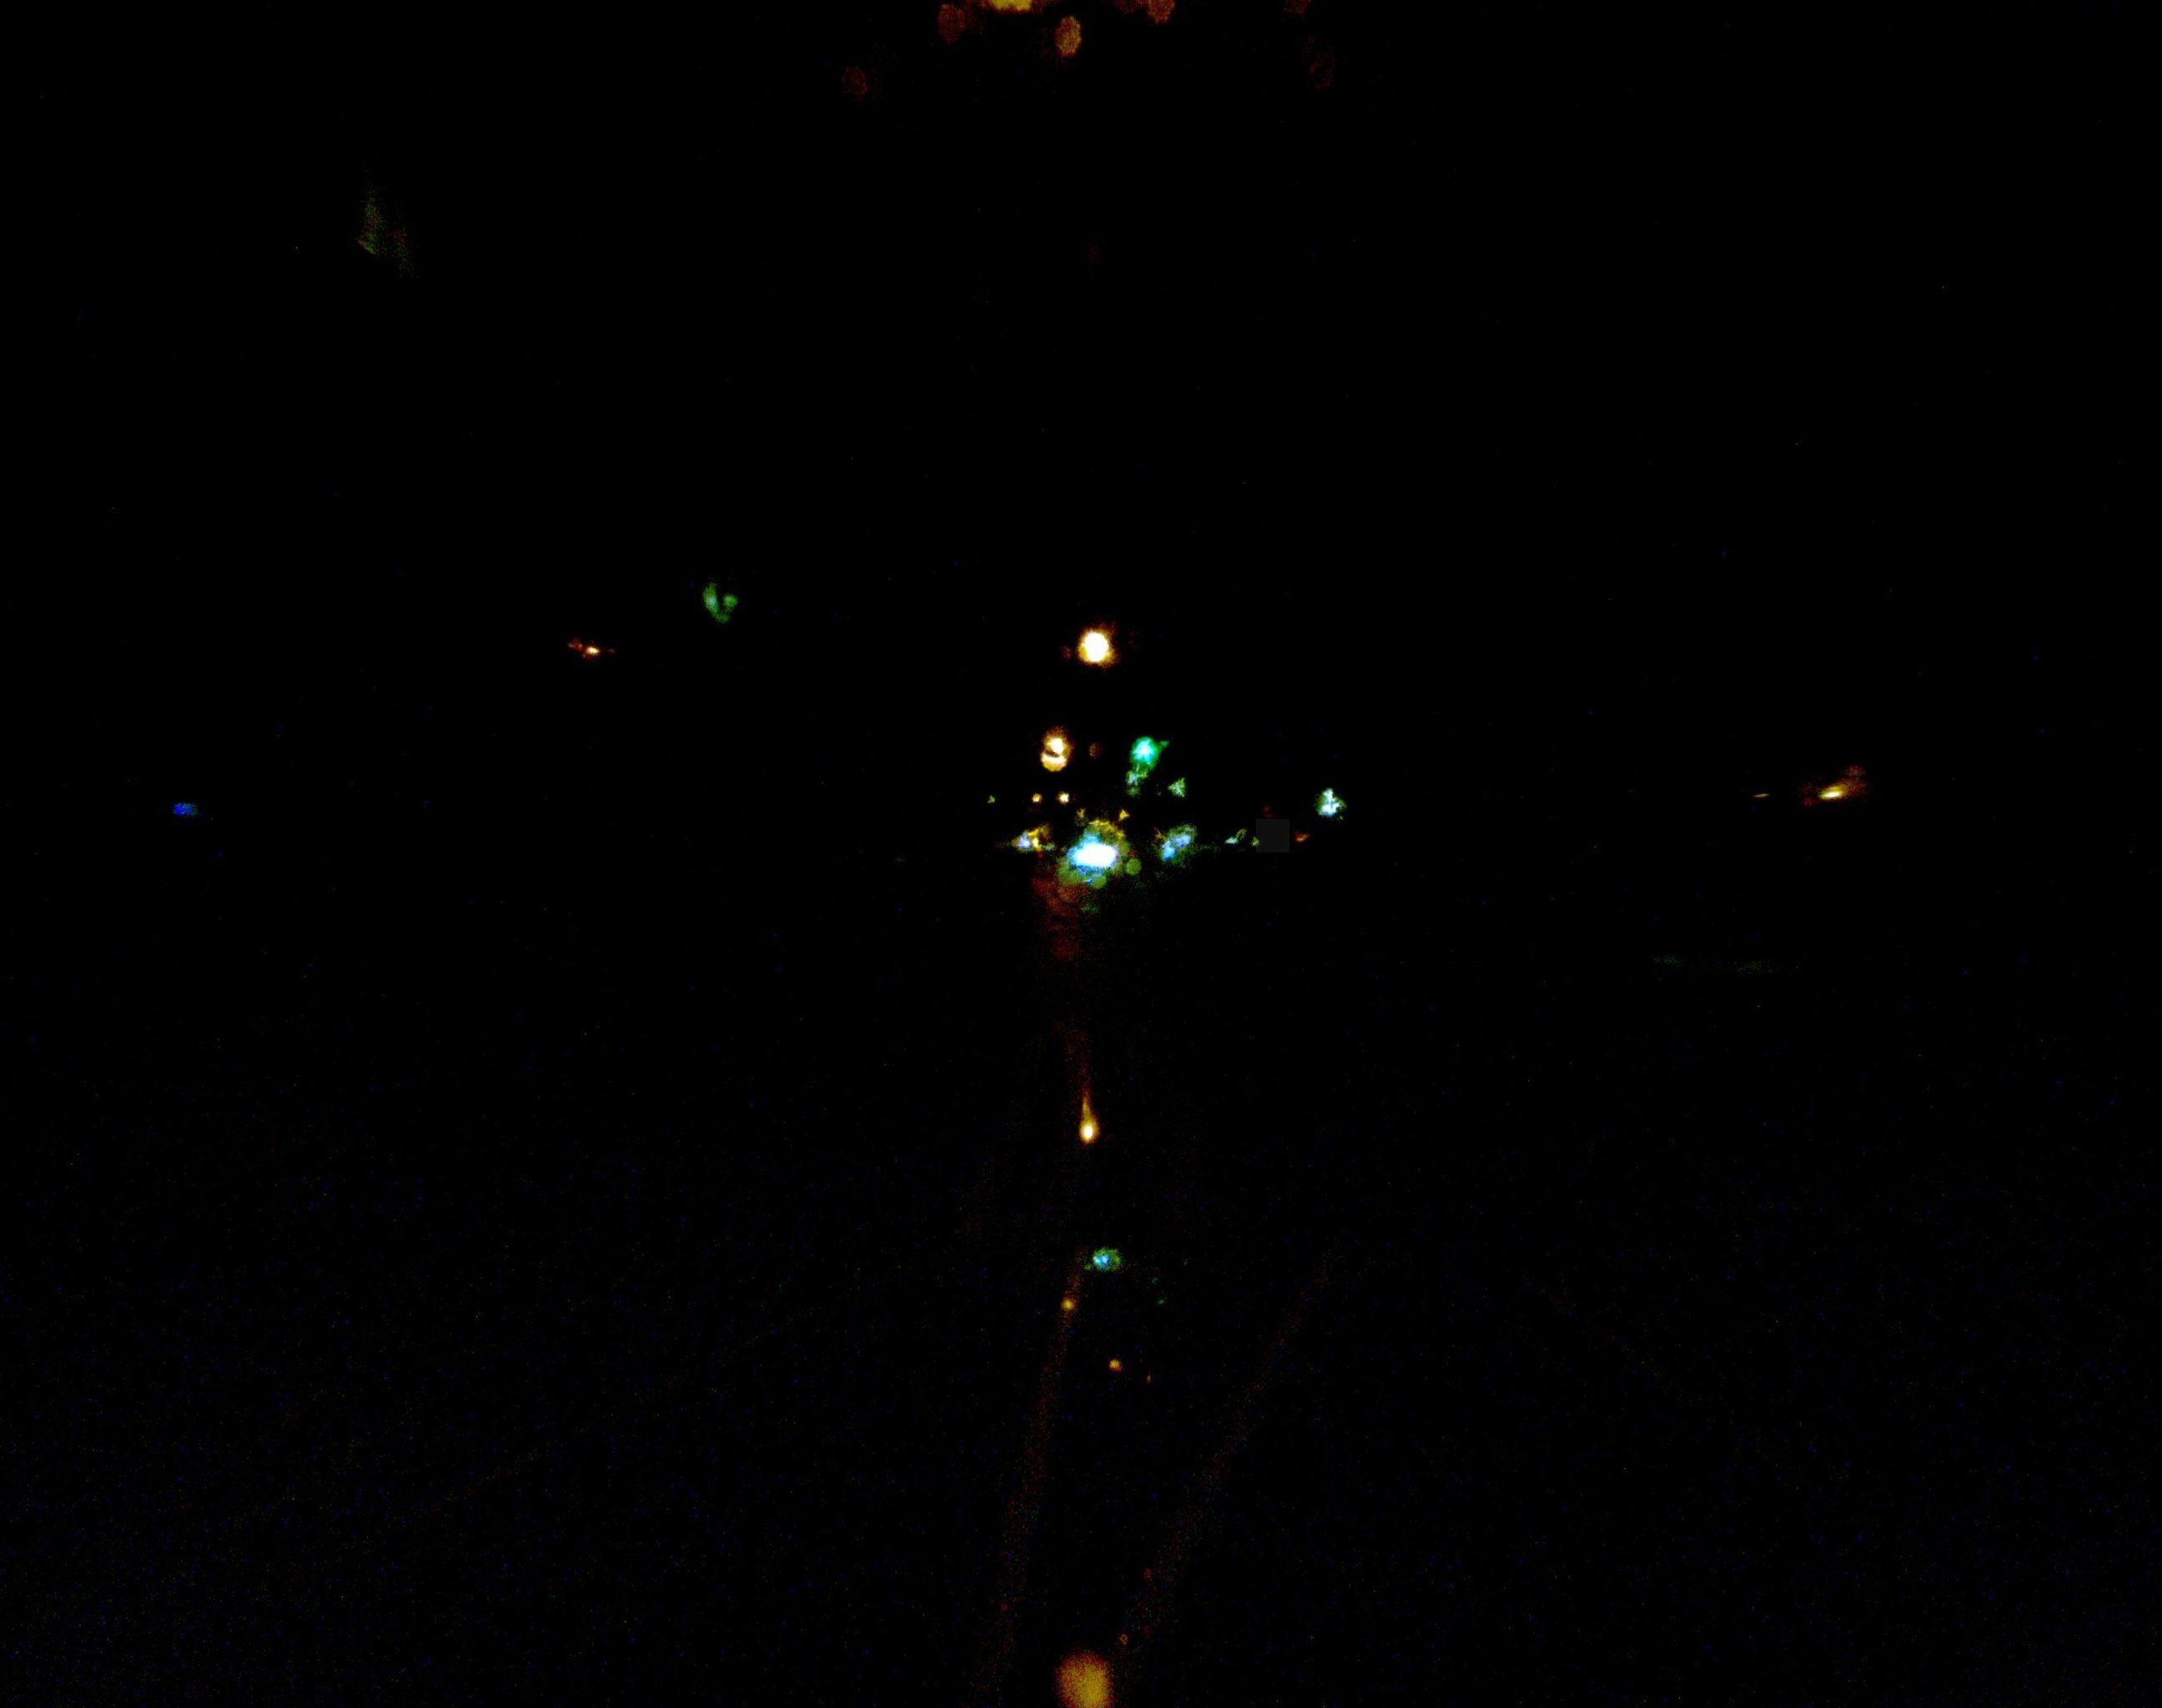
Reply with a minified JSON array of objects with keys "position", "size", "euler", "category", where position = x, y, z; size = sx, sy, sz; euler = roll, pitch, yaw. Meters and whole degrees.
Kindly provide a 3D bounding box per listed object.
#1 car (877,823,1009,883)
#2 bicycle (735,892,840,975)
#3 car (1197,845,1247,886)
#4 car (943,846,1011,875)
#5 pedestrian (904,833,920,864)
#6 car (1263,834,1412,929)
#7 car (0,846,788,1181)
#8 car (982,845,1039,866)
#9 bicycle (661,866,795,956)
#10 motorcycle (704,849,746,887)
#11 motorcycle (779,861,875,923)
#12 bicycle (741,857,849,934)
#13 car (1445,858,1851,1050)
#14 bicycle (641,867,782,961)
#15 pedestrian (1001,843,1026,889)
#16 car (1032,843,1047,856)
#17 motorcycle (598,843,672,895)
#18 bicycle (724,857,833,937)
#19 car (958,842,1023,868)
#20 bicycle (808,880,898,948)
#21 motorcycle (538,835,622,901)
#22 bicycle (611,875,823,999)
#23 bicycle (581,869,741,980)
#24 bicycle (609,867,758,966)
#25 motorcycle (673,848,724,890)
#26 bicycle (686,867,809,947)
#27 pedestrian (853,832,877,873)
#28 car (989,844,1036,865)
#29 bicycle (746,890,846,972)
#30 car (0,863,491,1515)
[{"position":[-5.777,-0.046,32.016],"size":[4.951,2.327,2.225],"euler":[0,1,-33],"category":"car"},{"position":[-3.491,0.941,9.067],"size":[1.135,0.942,0.267],"euler":[1,1,-1],"category":"bicycle"},{"position":[6.008,0.431,32.813],"size":[1.815,1.660,4.413],"euler":[0,1,7],"category":"car"},{"position":[-5.940,0.350,43.419],"size":[3.518,1.552,1.590],"euler":[0,1,-35],"category":"car"},{"position":[-9.783,-0.320,43.976],"size":[0.657,1.779,0.784],"euler":[2,-1,0],"category":"pedestrian"},{"position":[5.578,0.505,17.263],"size":[1.871,1.835,4.827],"euler":[1,1,2],"category":"car"},{"position":[-3.937,0.786,4.894],"size":[3.717,1.514,1.653],"euler":[2,1,-24],"category":"car"},{"position":[-5.427,0.103,58.956],"size":[4.123,1.483,1.590],"euler":[2,0,-37],"category":"car"},{"position":[-4.808,0.773,10.392],"size":[1.600,1.151,0.417],"euler":[2,1,-2],"category":"bicycle"},{"position":[-10.591,0.396,22.659],"size":[0.524,1.061,1.624],"euler":[0,1,-1],"category":"motorcycle"},{"position":[-4.968,0.738,14.923],"size":[1.637,1.117,0.652],"euler":[3,1,-6],"category":"motorcycle"},{"position":[-4.838,0.688,12.857],"size":[1.668,1.227,0.385],"euler":[2,1,3],"category":"bicycle"},{"position":[5.398,0.813,7.869],"size":[1.550,1.434,3.562],"euler":[-2,1,0],"category":"car"},{"position":[-4.814,0.780,9.948],"size":[1.600,1.151,0.417],"euler":[2,1,-2],"category":"bicycle"},{"position":[-2.626,0.463,29.615],"size":[0.824,1.760,1.177],"euler":[1,1,0],"category":"pedestrian"},{"position":[-5.797,-0.700,106.469],"size":[1.810,1.759,4.272],"euler":[2,1,1],"category":"car"},{"position":[-10.792,0.335,18.472],"size":[0.524,1.200,2.125],"euler":[0,1,0],"category":"motorcycle"},{"position":[-4.898,0.684,12.338],"size":[1.583,1.227,0.418],"euler":[2,1,3],"category":"bicycle"},{"position":[-5.932,0.039,49.793],"size":[3.809,1.679,1.831],"euler":[0,1,-30],"category":"car"},{"position":[-3.465,0.906,11.584],"size":[1.214,0.942,0.302],"euler":[4,1,-2],"category":"bicycle"},{"position":[-10.546,0.272,16.081],"size":[0.524,1.311,2.124],"euler":[0,1,-6],"category":"motorcycle"},{"position":[-3.788,0.839,7.980],"size":[1.893,1.151,0.680],"euler":[2,1,4],"category":"bicycle"},{"position":[-4.825,0.784,8.755],"size":[1.598,1.151,0.540],"euler":[2,1,9],"category":"bicycle"},{"position":[-4.947,0.768,9.500],"size":[1.600,1.151,0.417],"euler":[2,1,-2],"category":"bicycle"},{"position":[-10.374,0.392,20.683],"size":[0.524,1.061,2.056],"euler":[0,1,-6],"category":"motorcycle"},{"position":[-4.930,0.774,11.266],"size":[1.600,1.105,0.417],"euler":[2,1,-2],"category":"bicycle"},{"position":[-9.785,-0.061,34.480],"size":[0.747,1.830,0.843],"euler":[2,-1,0],"category":"pedestrian"},{"position":[-5.594,0.019,62.112],"size":[3.404,1.583,1.590],"euler":[2,0,-36],"category":"car"},{"position":[-3.493,0.941,9.339],"size":[1.135,0.969,0.249],"euler":[1,1,-1],"category":"bicycle"},{"position":[-4.166,0.807,2.076],"size":[3.717,1.514,1.653],"euler":[2,1,-24],"category":"car"}]
